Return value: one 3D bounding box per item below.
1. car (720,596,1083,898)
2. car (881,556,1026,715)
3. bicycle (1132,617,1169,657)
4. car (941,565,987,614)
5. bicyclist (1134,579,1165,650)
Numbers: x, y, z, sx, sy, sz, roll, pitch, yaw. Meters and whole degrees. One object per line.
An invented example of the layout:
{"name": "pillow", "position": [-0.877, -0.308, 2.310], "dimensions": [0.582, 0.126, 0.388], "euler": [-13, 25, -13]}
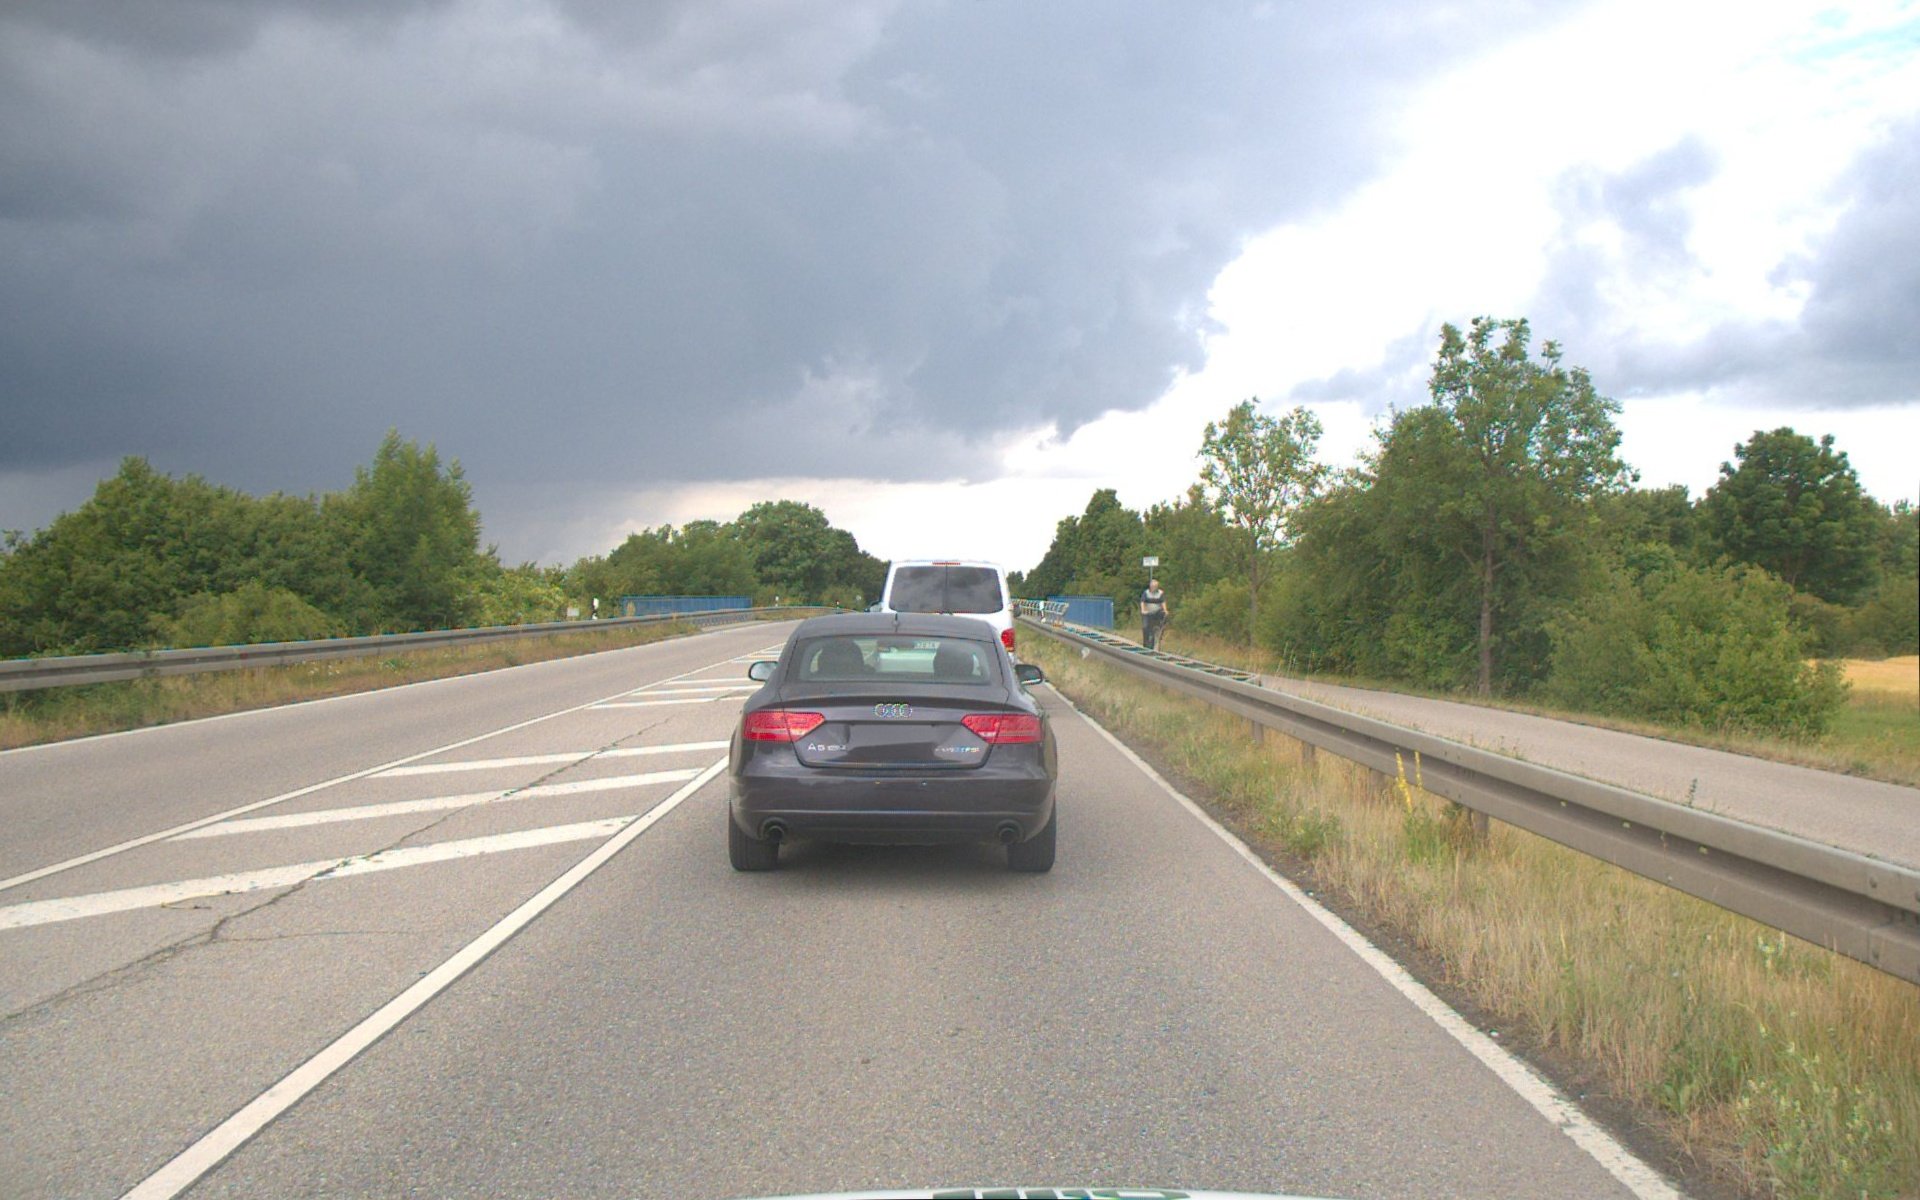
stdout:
{"name": "car", "position": [-0.306, 0.732, 10.074], "dimensions": [1.749, 1.448, 3.999], "euler": [1, 0, -1]}
{"name": "car", "position": [-0.104, 0.452, 22.249], "dimensions": [1.749, 1.923, 3.999], "euler": [1, 0, -1]}
{"name": "bicycle", "position": [4.548, 0.873, 39.612], "dimensions": [0.652, 0.936, 1.830], "euler": [0, 0, -1]}
{"name": "car", "position": [0.197, -0.564, 89.176], "dimensions": [2.397, 2.548, 5.041], "euler": [1, 0, 0]}
{"name": "bicyclist", "position": [4.552, 0.339, 39.724], "dimensions": [0.634, 1.674, 0.866], "euler": [0, 0, -1]}
